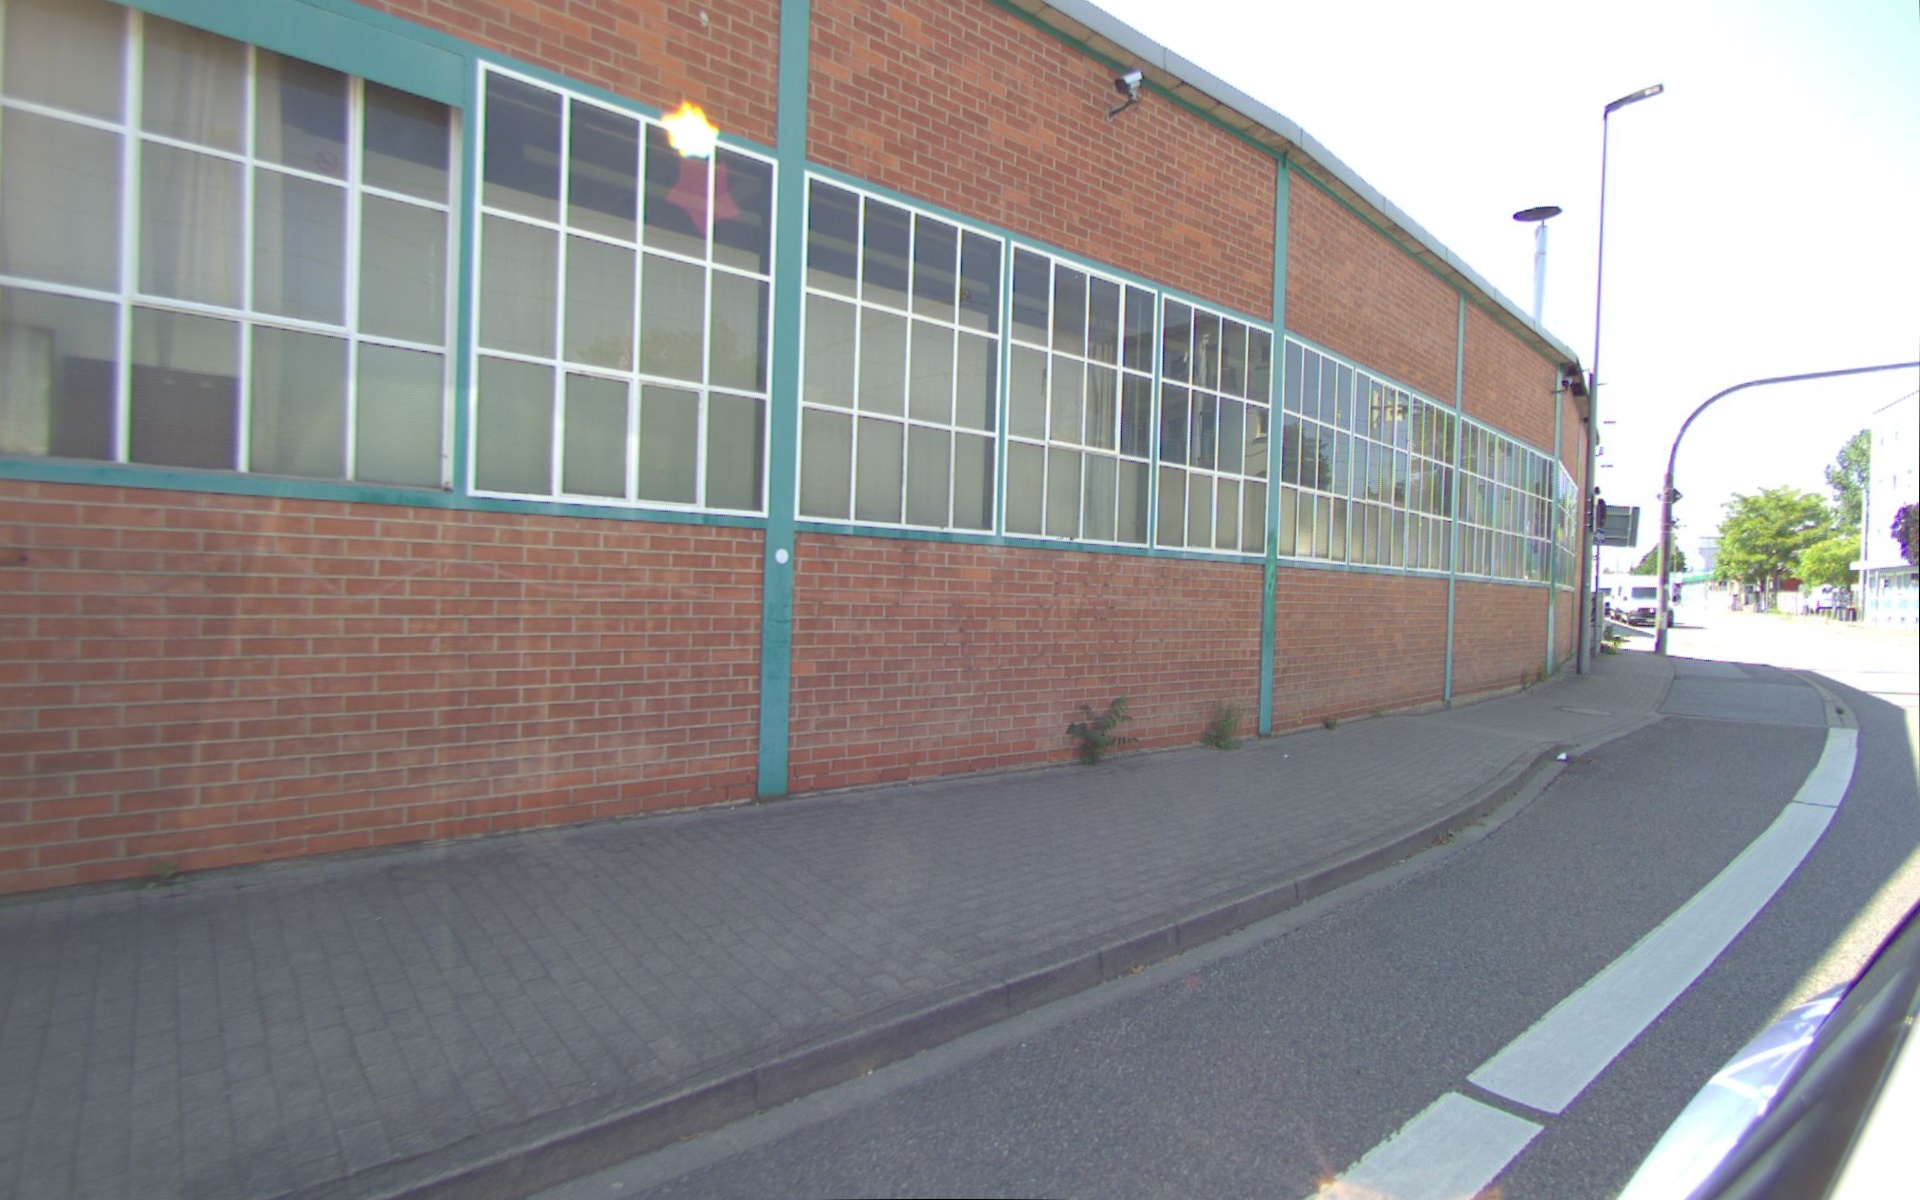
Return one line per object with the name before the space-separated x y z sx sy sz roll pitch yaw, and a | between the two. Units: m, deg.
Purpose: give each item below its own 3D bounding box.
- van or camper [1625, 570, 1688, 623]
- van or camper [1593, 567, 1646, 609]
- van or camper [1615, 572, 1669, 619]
van or camper | 36.445 -0.205 53.089 2.026 2.565 5.810 2 1 29
van or camper | 47.183 -0.883 72.536 2.501 2.821 7.046 2 1 28
van or camper | 40.087 -0.275 59.606 2.026 2.565 5.526 2 1 29
